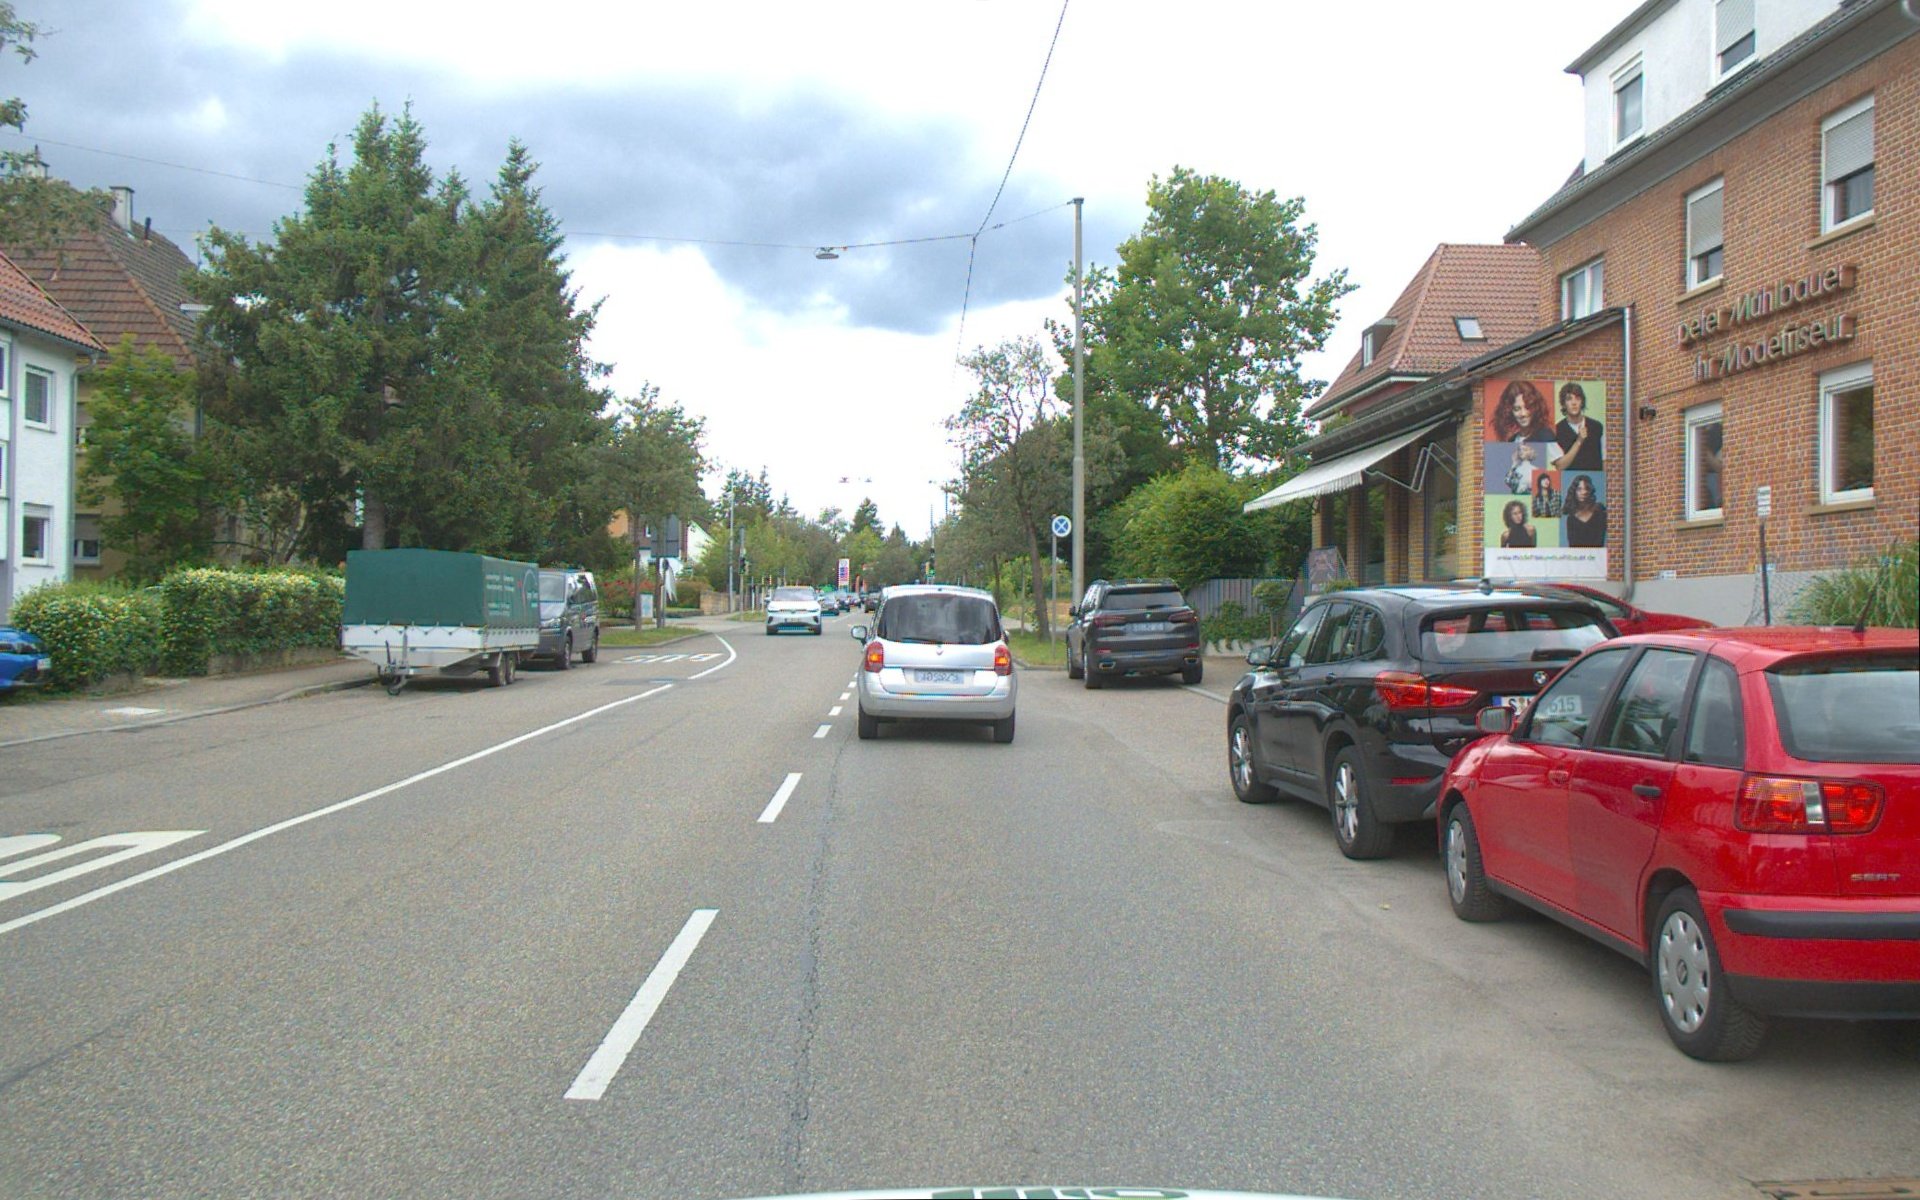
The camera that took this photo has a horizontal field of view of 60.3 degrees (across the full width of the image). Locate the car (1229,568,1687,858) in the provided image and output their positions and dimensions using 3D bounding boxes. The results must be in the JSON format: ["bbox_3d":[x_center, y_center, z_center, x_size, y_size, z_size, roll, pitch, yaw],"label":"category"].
[{"bbox_3d":[3.102,0.616,11.207,1.629,1.591,4.095,1,0,-4],"label":"car"}]

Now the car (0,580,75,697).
[{"bbox_3d":[-12.952,0.400,19.676,3.916,1.361,1.573,2,-2,-12],"label":"car"}]

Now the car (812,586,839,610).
[{"bbox_3d":[-8.639,-0.093,106.436,1.688,1.436,3.996,2,-1,-5],"label":"car"}]

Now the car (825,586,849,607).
[{"bbox_3d":[-9.252,-0.252,124.396,1.688,1.436,3.996,2,-1,-5],"label":"car"}]

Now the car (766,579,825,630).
[{"bbox_3d":[-5.577,0.168,56.303,1.869,1.646,3.995,1,-1,-5],"label":"car"}]

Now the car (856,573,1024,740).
[{"bbox_3d":[-0.223,0.585,18.217,1.597,1.584,3.999,2,-1,-1],"label":"car"}]

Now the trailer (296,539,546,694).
[{"bbox_3d":[-8.400,0.280,26.496,2.266,2.123,5.869,2,-1,-3],"label":"trailer"}]

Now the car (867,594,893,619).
[{"bbox_3d":[-5.736,0.463,118.894,1.792,1.705,3.573,0,0,-1],"label":"car"}]

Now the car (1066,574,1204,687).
[{"bbox_3d":[2.898,0.508,28.162,1.776,1.773,3.998,0,-1,-2],"label":"car"}]

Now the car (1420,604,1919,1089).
[{"bbox_3d":[3.214,0.745,6.808,1.628,1.417,3.668,0,0,0],"label":"car"}]

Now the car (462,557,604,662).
[{"bbox_3d":[-8.650,0.210,33.904,1.850,1.956,4.558,2,-1,-3],"label":"car"}]

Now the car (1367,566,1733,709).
[{"bbox_3d":[7.325,0.437,20.709,3.915,1.522,1.806,-3,0,-10],"label":"car"}]

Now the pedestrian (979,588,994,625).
[{"bbox_3d":[1.213,0.283,75.829,0.691,1.675,0.773,0,0,-2],"label":"pedestrian"}]
